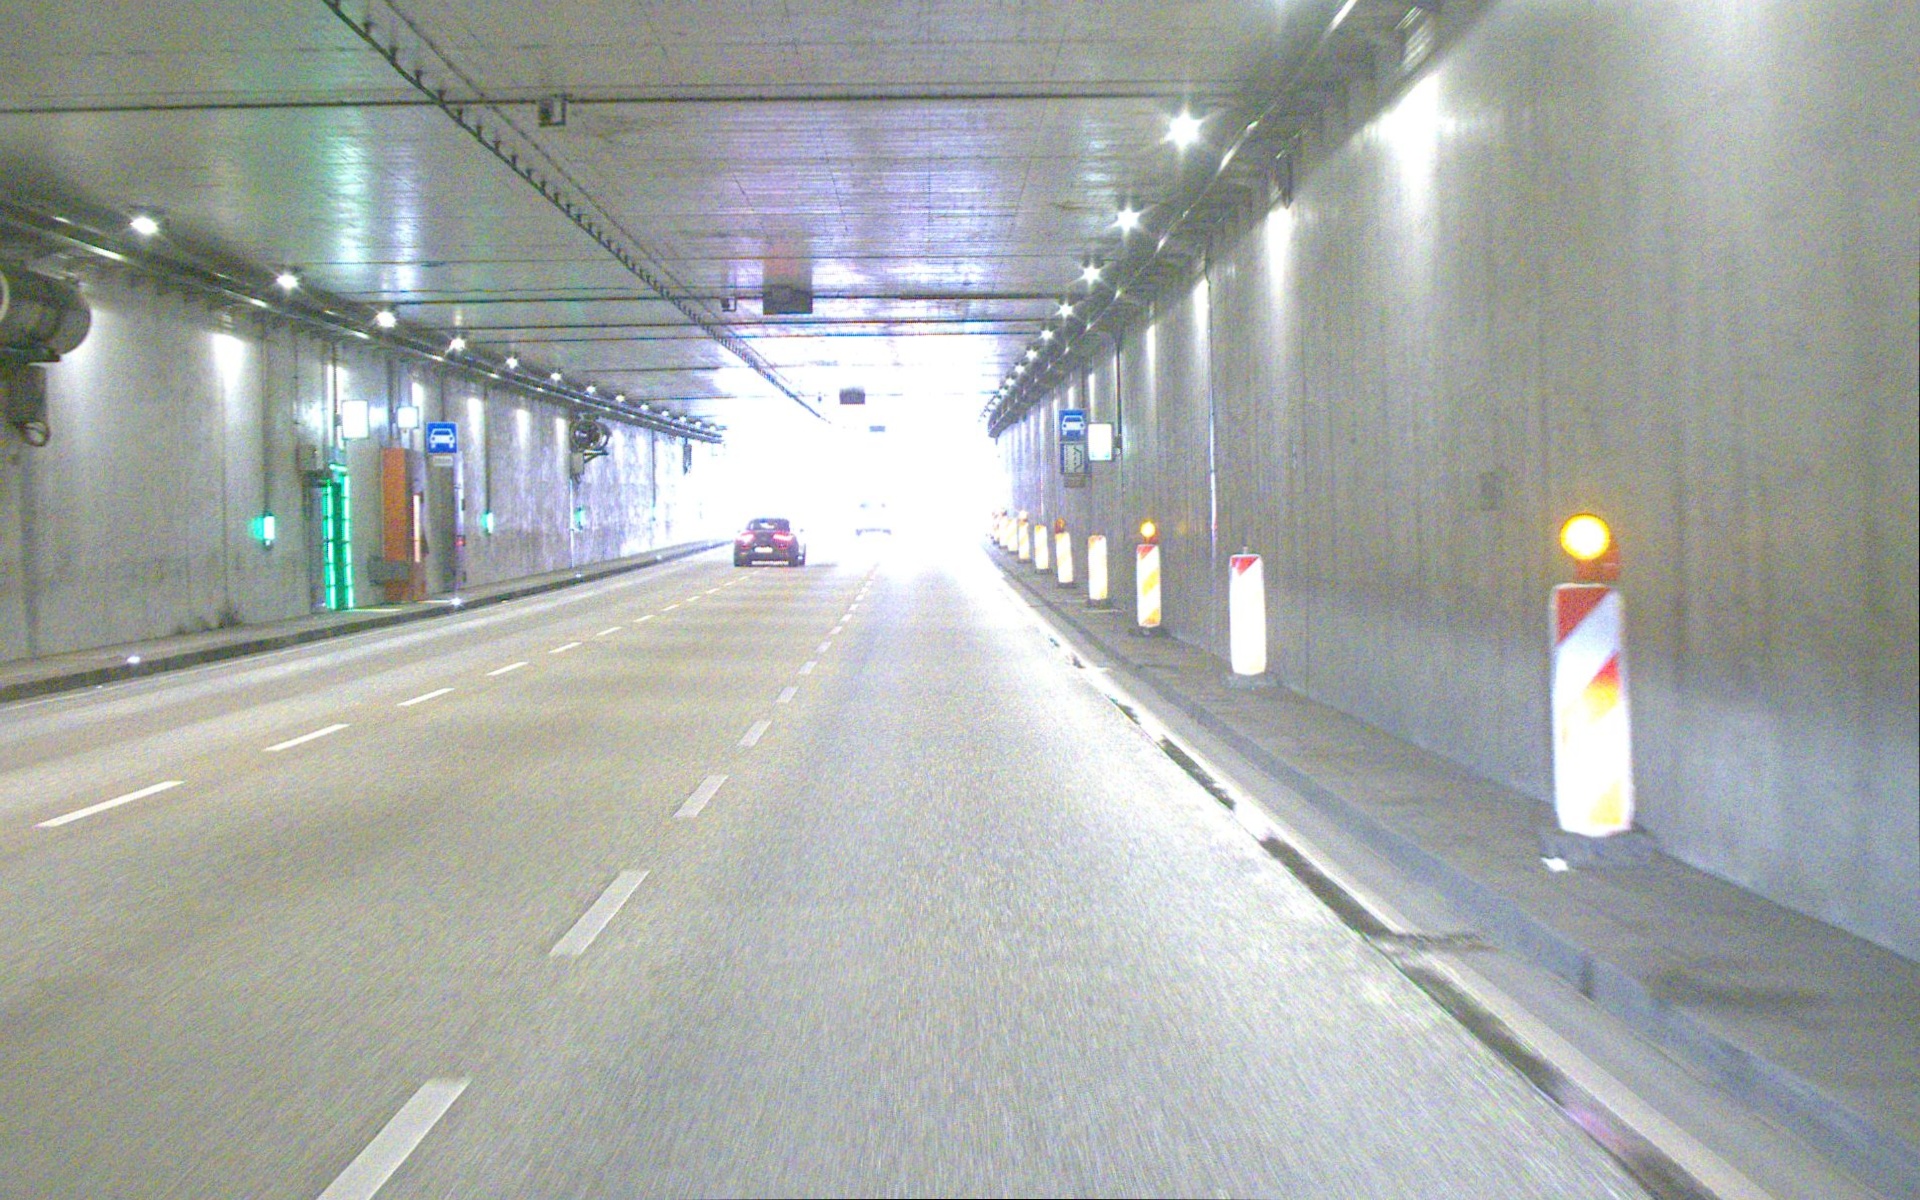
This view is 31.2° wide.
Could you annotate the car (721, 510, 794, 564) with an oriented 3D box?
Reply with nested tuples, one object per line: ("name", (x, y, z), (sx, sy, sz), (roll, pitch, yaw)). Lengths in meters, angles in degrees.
("car", (-5.973, -1.840, 100.928), (1.993, 1.443, 4.315), (3, 1, -4))

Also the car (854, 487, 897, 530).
("car", (-4.144, -4.478, 169.297), (1.993, 2.007, 4.000), (1, 0, 0))

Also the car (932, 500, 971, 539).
("car", (-0.458, -4.300, 184.015), (1.993, 2.007, 4.000), (1, 0, 0))
